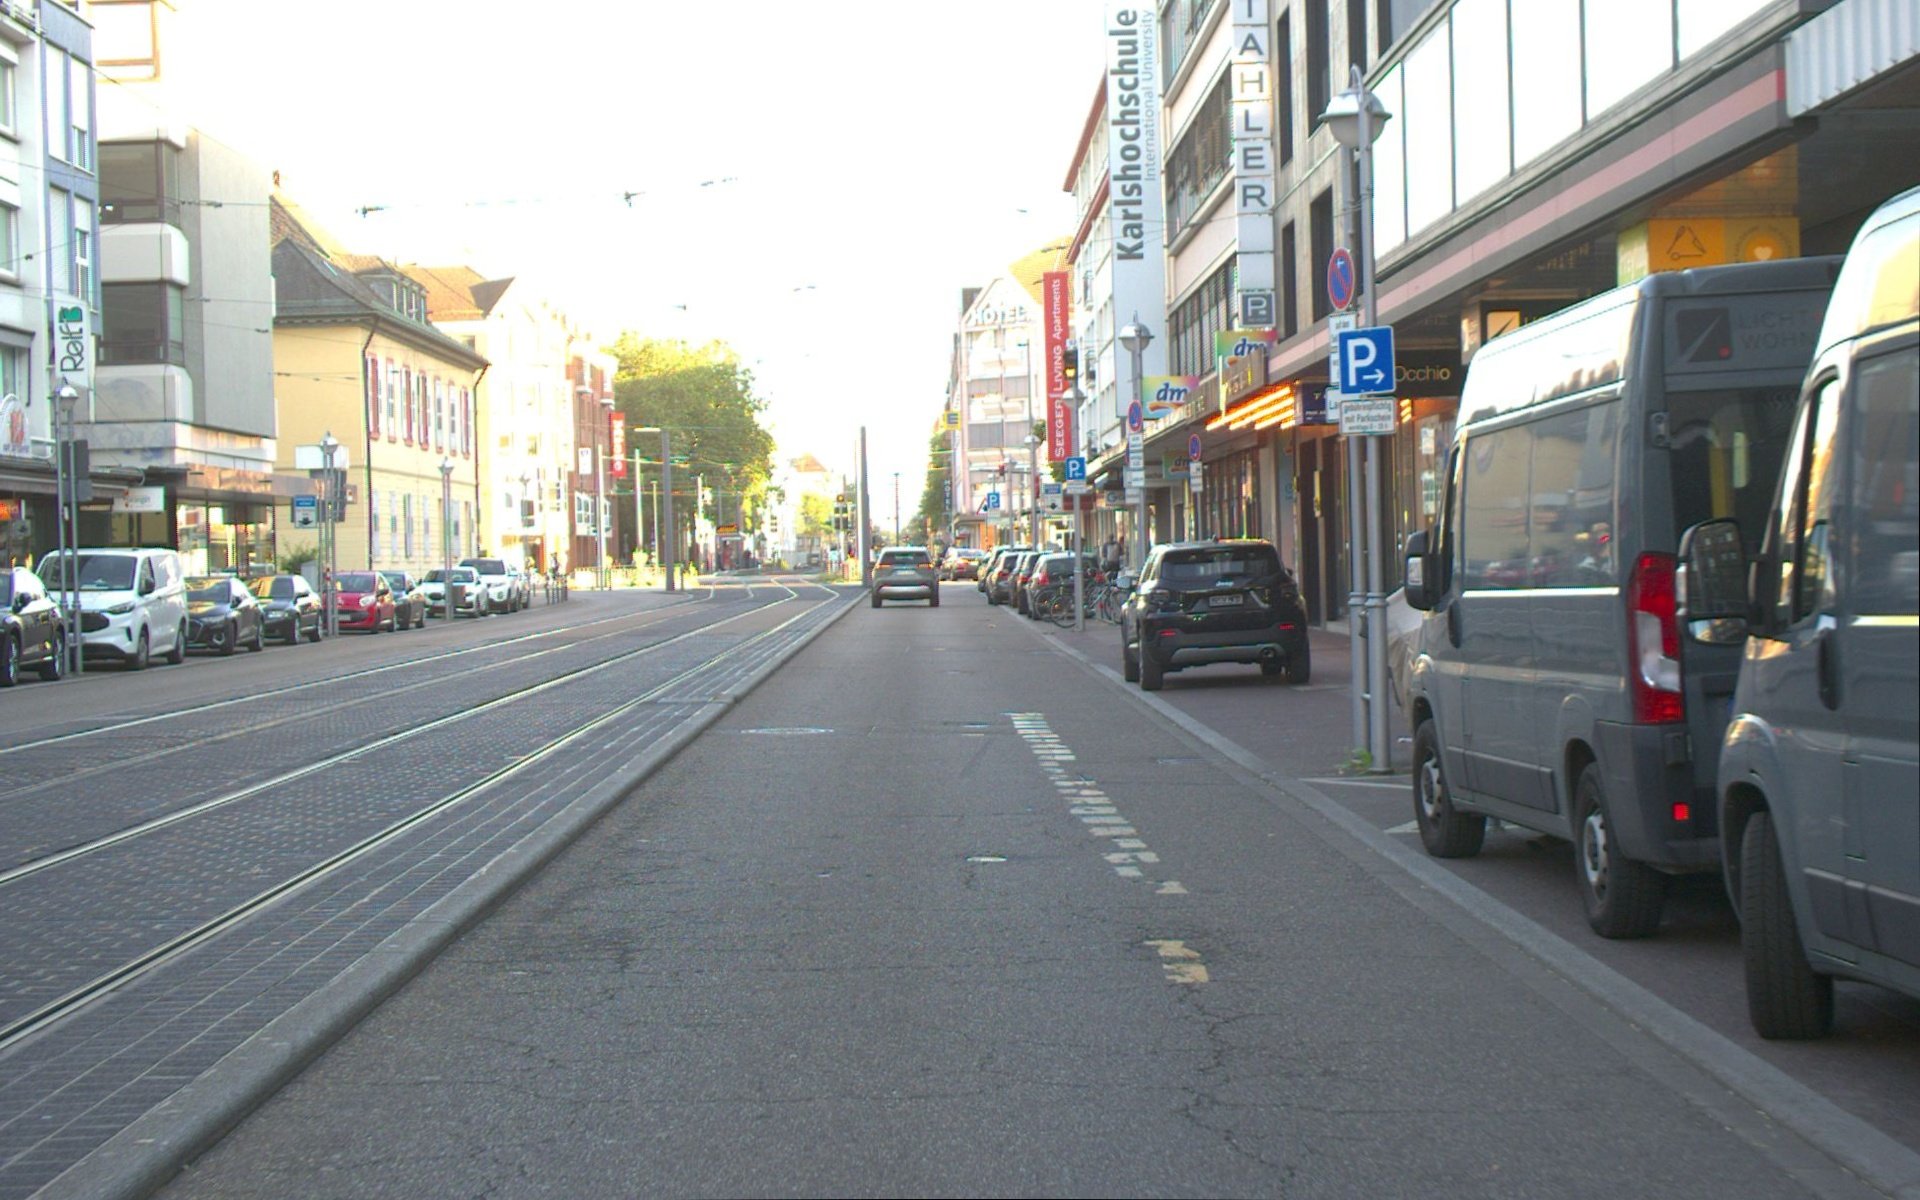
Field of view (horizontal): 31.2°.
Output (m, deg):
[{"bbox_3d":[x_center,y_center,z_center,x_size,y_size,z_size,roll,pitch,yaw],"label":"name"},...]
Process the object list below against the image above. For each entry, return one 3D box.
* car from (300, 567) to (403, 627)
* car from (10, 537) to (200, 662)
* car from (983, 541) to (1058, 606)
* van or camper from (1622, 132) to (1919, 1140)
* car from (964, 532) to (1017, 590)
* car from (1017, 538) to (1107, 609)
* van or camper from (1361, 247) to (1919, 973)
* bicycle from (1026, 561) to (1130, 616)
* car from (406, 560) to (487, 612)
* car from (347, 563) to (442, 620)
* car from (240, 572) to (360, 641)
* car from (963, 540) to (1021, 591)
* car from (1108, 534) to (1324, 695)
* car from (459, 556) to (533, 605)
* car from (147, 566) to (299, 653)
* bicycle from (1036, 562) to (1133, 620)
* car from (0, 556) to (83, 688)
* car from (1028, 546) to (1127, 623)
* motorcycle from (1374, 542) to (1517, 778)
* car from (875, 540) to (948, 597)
[{"bbox_3d":[-14.198,-0.090,80.373,1.790,1.334,3.892,1,1,-1],"label":"car"},{"bbox_3d":[-13.954,-0.033,56.368,1.917,1.929,4.842,1,1,0],"label":"car"},{"bbox_3d":[1.681,-0.770,97.022,1.944,1.697,4.545,-3,1,0],"label":"car"},{"bbox_3d":[3.378,0.055,8.203,2.188,2.418,6.133,-4,1,-1],"label":"van or camper"},{"bbox_3d":[1.200,-1.549,135.512,1.944,2.138,4.545,-3,1,0],"label":"car"},{"bbox_3d":[2.392,-0.646,81.739,1.944,1.539,4.545,-3,1,0],"label":"car"},{"bbox_3d":[3.271,-0.035,14.533,2.188,2.418,5.518,-4,1,-2],"label":"van or camper"},{"bbox_3d":[2.463,-0.236,71.810,2.118,1.087,0.592,-2,1,-3],"label":"bicycle"},{"bbox_3d":[-14.770,-0.417,99.018,1.790,1.444,3.892,1,1,-1],"label":"car"},{"bbox_3d":[-14.088,-0.231,85.765,1.790,1.334,3.892,1,1,-1],"label":"car"},{"bbox_3d":[-13.496,0.109,70.490,1.790,1.334,3.892,1,1,-1],"label":"car"},{"bbox_3d":[1.134,-1.248,123.665,1.944,1.697,4.545,-3,1,0],"label":"car"},{"bbox_3d":[2.718,0.114,37.480,1.944,1.539,4.545,-3,1,0],"label":"car"},{"bbox_3d":[-14.151,-0.607,105.079,1.790,1.444,3.892,1,1,-1],"label":"car"},{"bbox_3d":[-13.717,0.153,64.193,1.917,1.516,4.630,1,1,-1],"label":"car"},{"bbox_3d":[2.458,-0.184,68.058,1.868,1.087,0.545,-2,1,-1],"label":"bicycle"},{"bbox_3d":[-13.906,0.257,48.543,1.917,1.757,4.430,1,1,0],"label":"car"},{"bbox_3d":[2.541,-0.368,75.443,1.944,1.539,4.545,-3,1,0],"label":"car"},{"bbox_3d":[3.143,0.355,22.321,0.813,1.412,2.004,-3,1,8],"label":"motorcycle"},{"bbox_3d":[-1.337,-0.891,96.001,1.944,1.539,4.545,-1,1,0],"label":"car"}]
